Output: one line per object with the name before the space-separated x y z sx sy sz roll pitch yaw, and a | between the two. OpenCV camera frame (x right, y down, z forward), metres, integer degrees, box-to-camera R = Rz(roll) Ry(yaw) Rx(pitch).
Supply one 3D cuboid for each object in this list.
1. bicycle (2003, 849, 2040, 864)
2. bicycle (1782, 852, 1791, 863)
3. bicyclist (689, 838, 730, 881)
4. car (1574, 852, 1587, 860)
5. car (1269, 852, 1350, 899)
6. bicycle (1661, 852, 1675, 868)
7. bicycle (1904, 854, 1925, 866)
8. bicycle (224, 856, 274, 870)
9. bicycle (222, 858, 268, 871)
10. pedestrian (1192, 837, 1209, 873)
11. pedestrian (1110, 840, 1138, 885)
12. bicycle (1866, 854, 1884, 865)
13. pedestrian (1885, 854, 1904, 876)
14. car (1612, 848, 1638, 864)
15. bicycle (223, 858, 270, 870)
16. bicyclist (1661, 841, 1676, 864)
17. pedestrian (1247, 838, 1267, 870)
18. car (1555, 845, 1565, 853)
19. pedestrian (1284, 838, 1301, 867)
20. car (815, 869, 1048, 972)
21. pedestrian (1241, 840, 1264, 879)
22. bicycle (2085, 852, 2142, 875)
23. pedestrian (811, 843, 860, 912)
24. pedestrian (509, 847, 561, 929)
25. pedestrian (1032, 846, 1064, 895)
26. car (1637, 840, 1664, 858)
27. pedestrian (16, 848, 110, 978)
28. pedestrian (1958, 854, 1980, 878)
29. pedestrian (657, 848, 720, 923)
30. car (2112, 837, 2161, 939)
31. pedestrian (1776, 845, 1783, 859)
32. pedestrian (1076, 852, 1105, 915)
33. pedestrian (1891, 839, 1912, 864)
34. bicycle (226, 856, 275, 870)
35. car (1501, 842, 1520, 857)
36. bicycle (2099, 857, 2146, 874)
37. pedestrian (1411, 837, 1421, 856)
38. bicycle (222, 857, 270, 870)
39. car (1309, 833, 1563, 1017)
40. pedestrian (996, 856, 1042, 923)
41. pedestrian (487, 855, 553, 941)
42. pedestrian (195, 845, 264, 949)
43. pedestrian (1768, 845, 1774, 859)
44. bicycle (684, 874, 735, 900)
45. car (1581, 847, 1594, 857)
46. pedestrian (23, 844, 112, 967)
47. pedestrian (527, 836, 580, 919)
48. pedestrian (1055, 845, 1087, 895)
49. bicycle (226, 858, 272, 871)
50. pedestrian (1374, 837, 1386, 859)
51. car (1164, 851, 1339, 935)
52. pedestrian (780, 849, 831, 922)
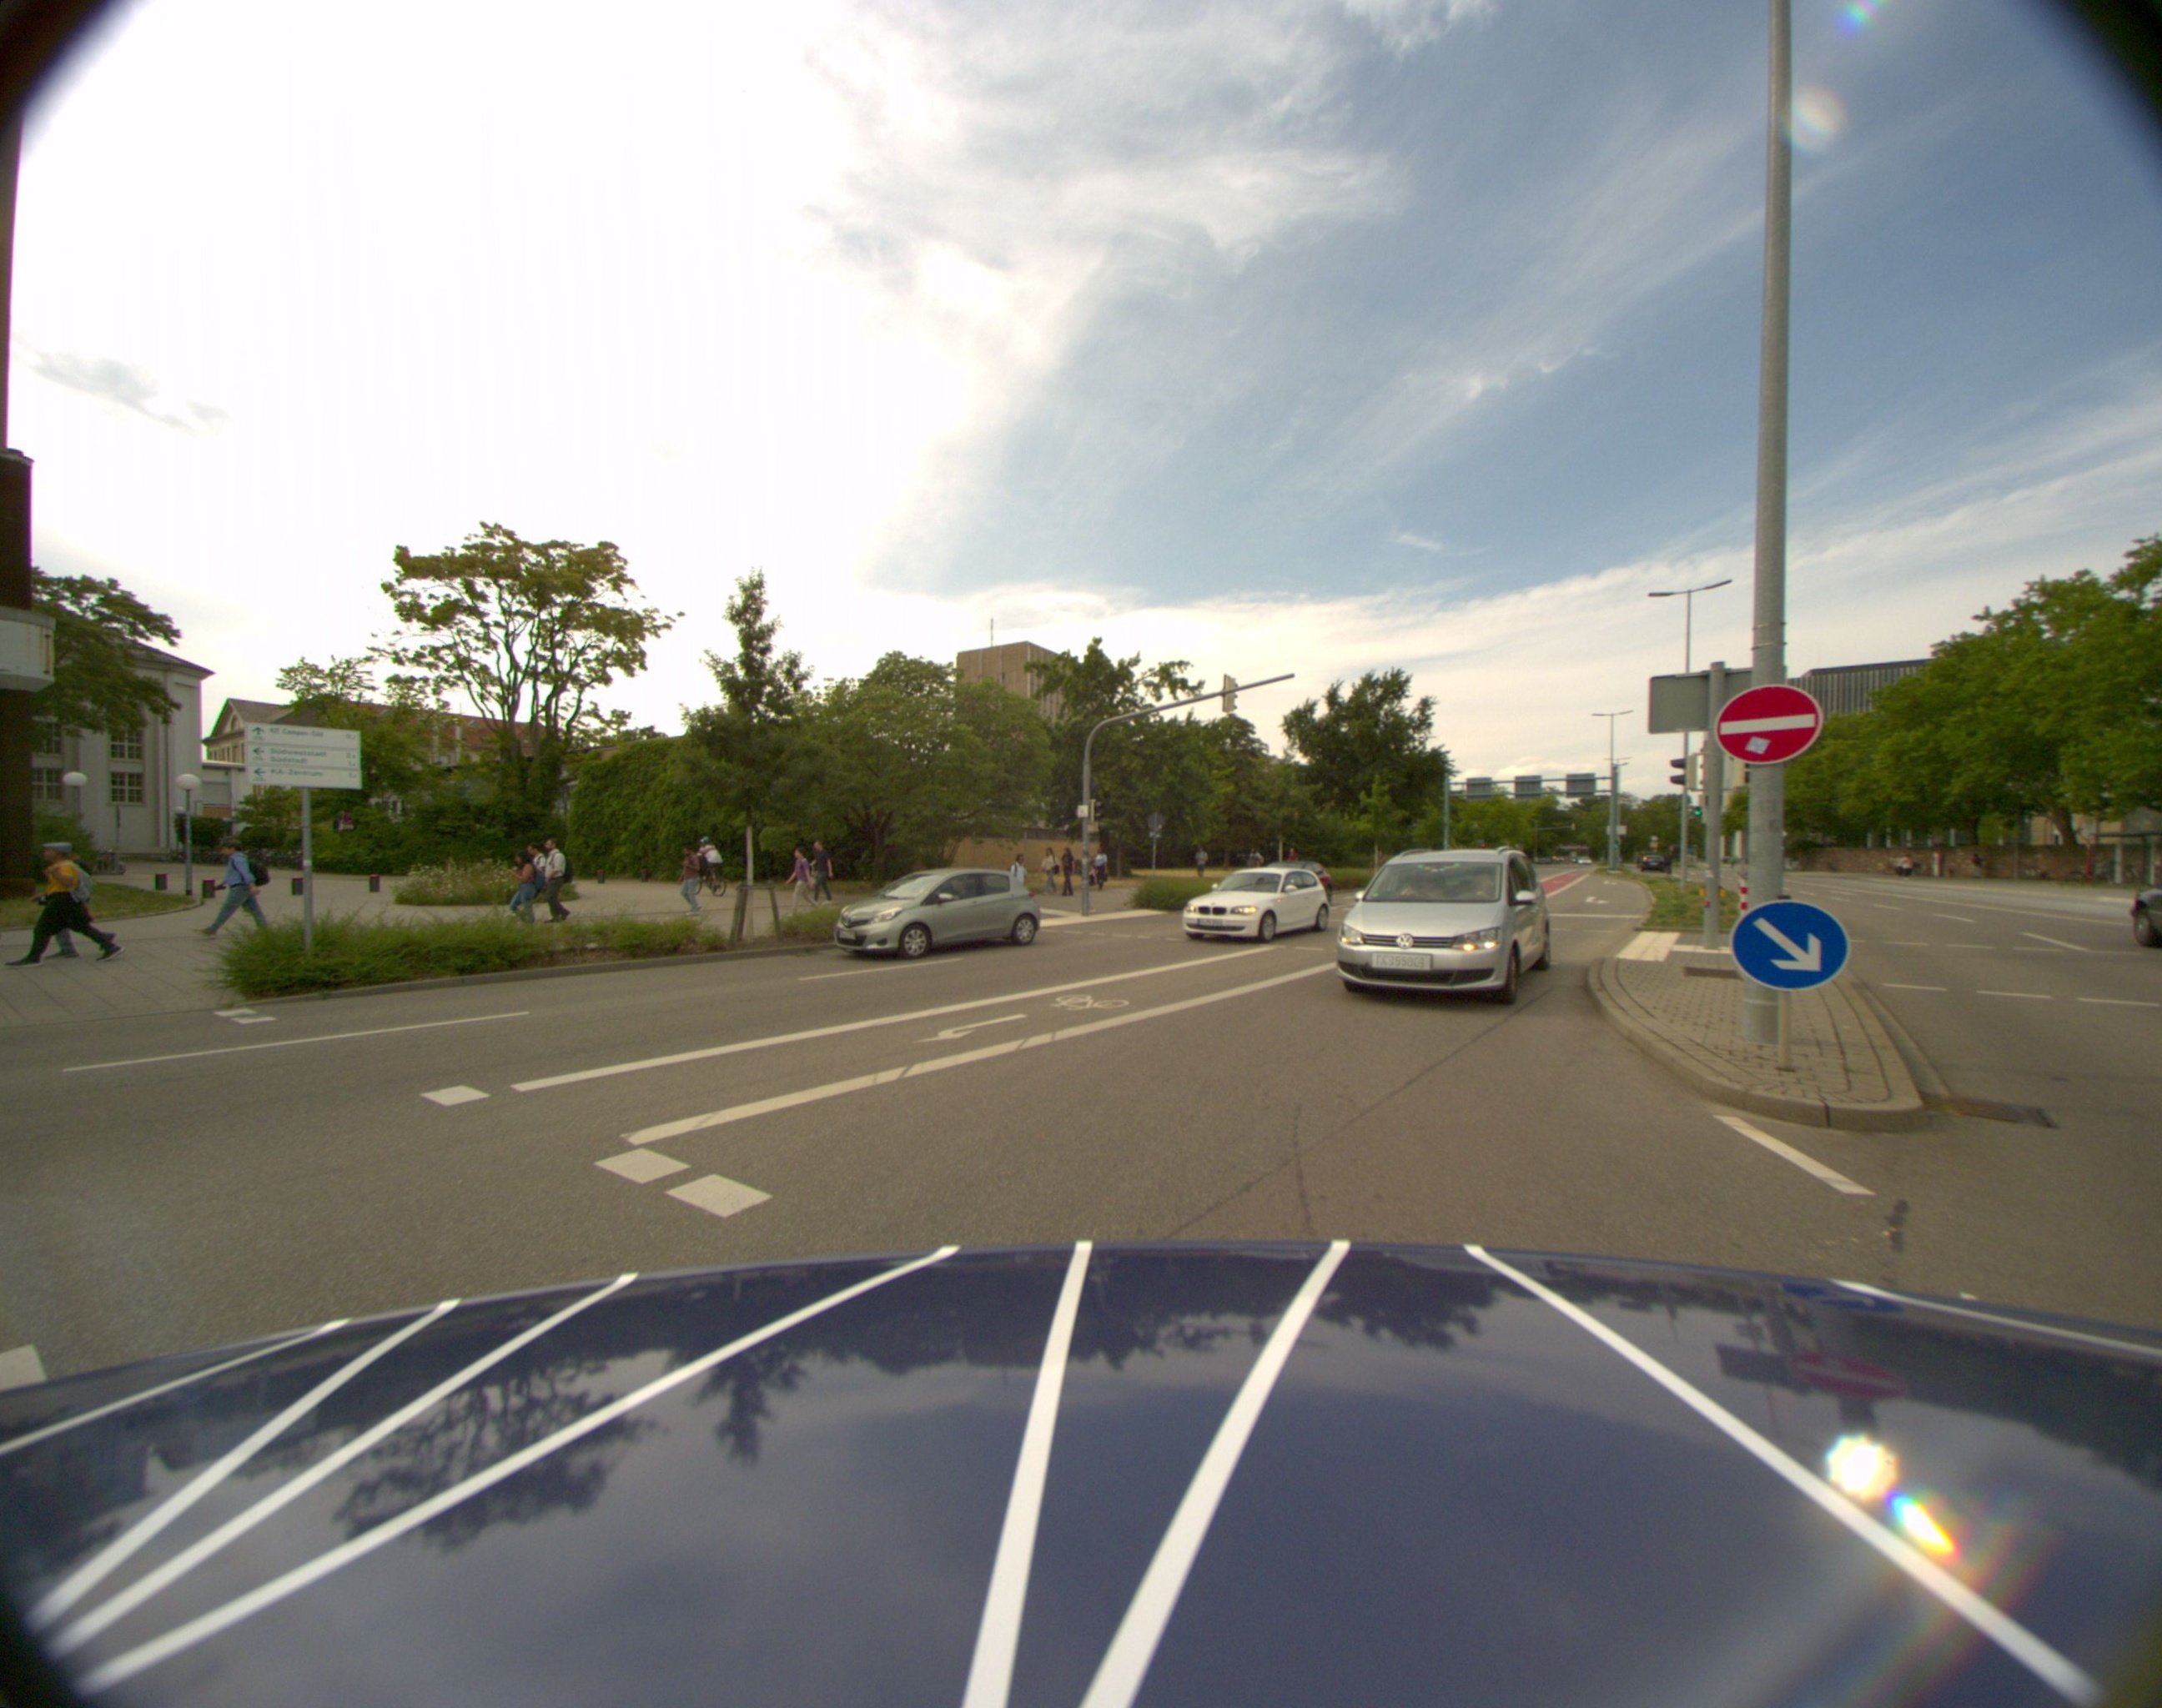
bicycle | 58.936 0.160 47.625 0.660 0.882 1.578 -3 -1 16
bicycle | 75.392 0.352 81.152 0.512 1.201 1.398 -2 0 35
bicyclist | -11.411 0.169 23.362 0.839 1.270 1.012 -2 0 -8
car | 108.654 0.394 165.362 1.994 1.565 4.008 -2 0 39
car | 7.752 0.687 25.585 1.667 1.407 3.464 -2 0 33
bicycle | 44.455 0.433 57.531 0.756 1.182 2.103 3 1 38
bicycle | 62.665 0.439 57.121 0.432 0.882 1.579 -3 -1 25
bicycle | -45.721 0.472 41.778 0.665 0.690 1.849 -2 0 44
bicycle | -49.951 0.616 45.422 0.650 0.690 1.849 -2 0 44
pedestrian | 5.677 0.034 35.997 0.543 1.687 0.696 2 3 32
pedestrian | 1.683 0.330 29.621 0.713 1.701 0.801 -2 0 32
bicycle | 65.147 0.464 62.371 0.432 0.882 1.579 -3 -1 25
pedestrian | 60.459 0.845 56.478 0.753 1.612 0.667 -2 0 30
car | 54.073 0.160 75.552 1.784 1.481 4.138 3 3 32
bicycle | -49.289 0.593 44.915 0.650 0.690 1.849 -2 0 44
bicyclist | 44.480 -0.076 57.509 0.776 1.701 1.088 3 2 38
pedestrian | 9.595 -0.023 41.403 0.840 1.701 0.696 -2 0 32
car | 125.167 -1.191 198.574 1.995 2.002 4.008 -2 0 34
pedestrian | 12.617 -0.083 45.335 0.712 1.701 0.696 -2 0 35
car | -2.588 1.086 13.838 1.667 1.480 3.883 -2 0 42
pedestrian | 7.733 0.246 34.181 0.732 1.701 0.695 -2 1 39
bicycle | 55.224 0.503 40.636 2.098 1.182 0.758 2 1 -4
pedestrian | -6.218 0.581 19.257 0.837 1.701 0.801 -2 0 39
pedestrian | -11.750 0.715 16.341 0.638 1.701 0.709 -1 1 39
pedestrian | -1.166 0.589 27.080 0.838 1.701 0.801 -2 0 20
car | 51.363 -0.471 68.583 1.784 1.481 4.138 3 3 35
pedestrian | -14.085 0.783 10.534 0.638 1.701 0.709 2 3 39
pedestrian | 60.378 0.818 51.662 0.754 1.612 0.665 -2 0 -5
pedestrian | -9.287 0.721 17.994 0.837 1.701 1.015 -2 0 39
car | 15.996 0.495 9.980 1.696 1.471 4.425 -2 0 37
pedestrian | 71.594 -0.213 77.904 0.401 1.448 0.474 -2 0 30
pedestrian | 0.264 0.816 21.233 0.480 1.701 0.589 -1 1 41
pedestrian | 55.041 -0.167 50.991 0.753 1.612 0.667 -2 0 30
bicycle | -46.868 0.512 42.891 0.650 0.690 1.849 -2 0 44
car | 61.923 -0.700 109.482 1.995 2.002 4.008 -2 0 34
bicycle | 56.671 0.629 41.373 0.660 0.882 1.578 -3 -1 16
pedestrian | 30.824 -0.673 69.952 0.712 1.701 0.696 -2 0 35
bicycle | -48.060 0.552 43.750 0.650 0.690 1.849 -2 0 44
car | 4.621 0.645 9.448 1.820 1.724 4.537 -2 0 38
pedestrian | -1.622 0.922 19.966 0.797 1.701 0.841 -2 0 41
pedestrian | -10.693 0.811 14.478 0.837 1.534 0.801 4 4 38
pedestrian | -14.572 0.705 13.012 0.638 1.702 0.709 3 3 38
pedestrian | 70.861 -0.213 78.020 0.401 1.448 0.474 -2 0 30
bicycle | -11.385 0.998 23.368 0.843 0.690 1.844 -2 0 -8
car | 85.925 -0.327 128.888 1.784 1.481 4.138 3 3 35
pedestrian | -14.656 0.719 11.010 0.638 1.701 0.709 -1 1 39
pedestrian | -11.099 0.482 15.996 0.638 1.701 0.709 -1 1 39
pedestrian | -0.349 0.563 26.812 0.838 1.701 0.801 -2 0 20
bicycle | -50.593 0.638 46.226 0.650 0.690 1.849 -2 0 44
pedestrian | 24.299 -0.486 61.815 0.712 1.701 0.696 -2 0 35
car | 3.679 0.723 15.854 1.755 1.449 4.232 -2 0 41
pedestrian | -6.679 0.750 18.424 0.837 1.701 0.801 -2 0 39
